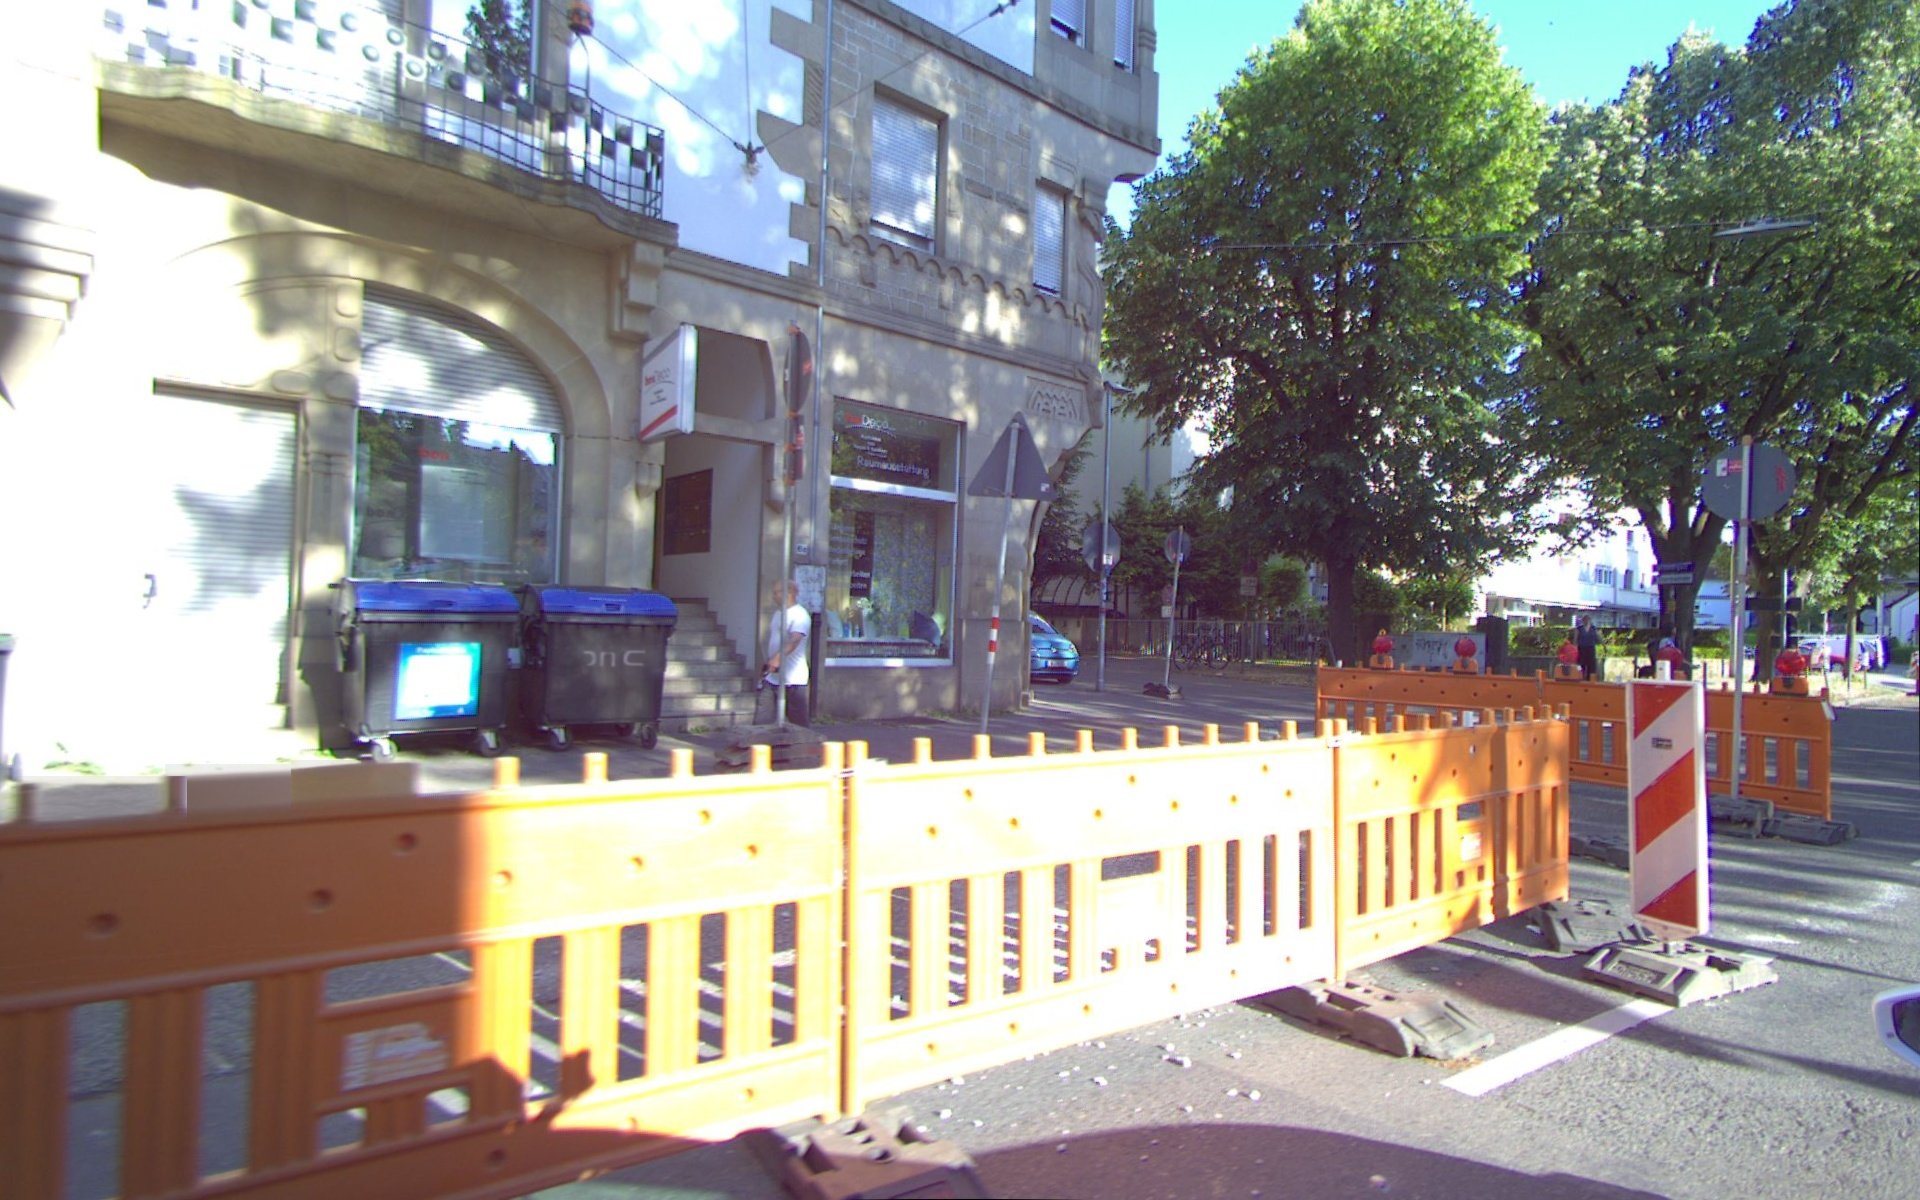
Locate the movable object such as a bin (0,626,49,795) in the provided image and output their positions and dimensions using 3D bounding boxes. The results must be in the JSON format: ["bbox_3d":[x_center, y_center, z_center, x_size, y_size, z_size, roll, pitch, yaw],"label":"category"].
[{"bbox_3d":[-6.551,0.711,6.581,0.757,1.055,0.631,2,0,-36],"label":"movable object such as a bin"}]

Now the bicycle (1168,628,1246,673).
[{"bbox_3d":[6.438,1.311,26.199,1.908,1.091,0.743,3,0,-27],"label":"bicycle"}]

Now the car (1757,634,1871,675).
[{"bbox_3d":[45.806,2.911,53.940,1.980,1.876,4.285,2,0,-35],"label":"car"}]

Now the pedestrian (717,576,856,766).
[{"bbox_3d":[-1.596,0.620,9.242,0.911,1.625,0.812,2,1,-44],"label":"pedestrian"}]

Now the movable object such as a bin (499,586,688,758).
[{"bbox_3d":[-3.435,0.632,9.419,1.335,1.450,1.073,2,0,-41],"label":"movable object such as a bin"}]

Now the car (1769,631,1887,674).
[{"bbox_3d":[48.023,2.876,55.675,2.100,1.991,4.628,2,0,-40],"label":"car"}]

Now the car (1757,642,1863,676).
[{"bbox_3d":[44.074,3.032,52.139,1.985,1.498,3.954,3,0,-42],"label":"car"}]

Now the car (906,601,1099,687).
[{"bbox_3d":[0.794,0.859,20.920,1.981,1.572,3.960,2,-1,-36],"label":"car"}]

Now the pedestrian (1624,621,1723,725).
[{"bbox_3d":[13.030,1.310,18.355,1.178,1.805,1.038,2,-1,-30],"label":"pedestrian"}]

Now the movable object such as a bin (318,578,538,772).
[{"bbox_3d":[-4.490,0.584,8.484,1.396,1.450,1.073,2,0,-41],"label":"movable object such as a bin"}]
